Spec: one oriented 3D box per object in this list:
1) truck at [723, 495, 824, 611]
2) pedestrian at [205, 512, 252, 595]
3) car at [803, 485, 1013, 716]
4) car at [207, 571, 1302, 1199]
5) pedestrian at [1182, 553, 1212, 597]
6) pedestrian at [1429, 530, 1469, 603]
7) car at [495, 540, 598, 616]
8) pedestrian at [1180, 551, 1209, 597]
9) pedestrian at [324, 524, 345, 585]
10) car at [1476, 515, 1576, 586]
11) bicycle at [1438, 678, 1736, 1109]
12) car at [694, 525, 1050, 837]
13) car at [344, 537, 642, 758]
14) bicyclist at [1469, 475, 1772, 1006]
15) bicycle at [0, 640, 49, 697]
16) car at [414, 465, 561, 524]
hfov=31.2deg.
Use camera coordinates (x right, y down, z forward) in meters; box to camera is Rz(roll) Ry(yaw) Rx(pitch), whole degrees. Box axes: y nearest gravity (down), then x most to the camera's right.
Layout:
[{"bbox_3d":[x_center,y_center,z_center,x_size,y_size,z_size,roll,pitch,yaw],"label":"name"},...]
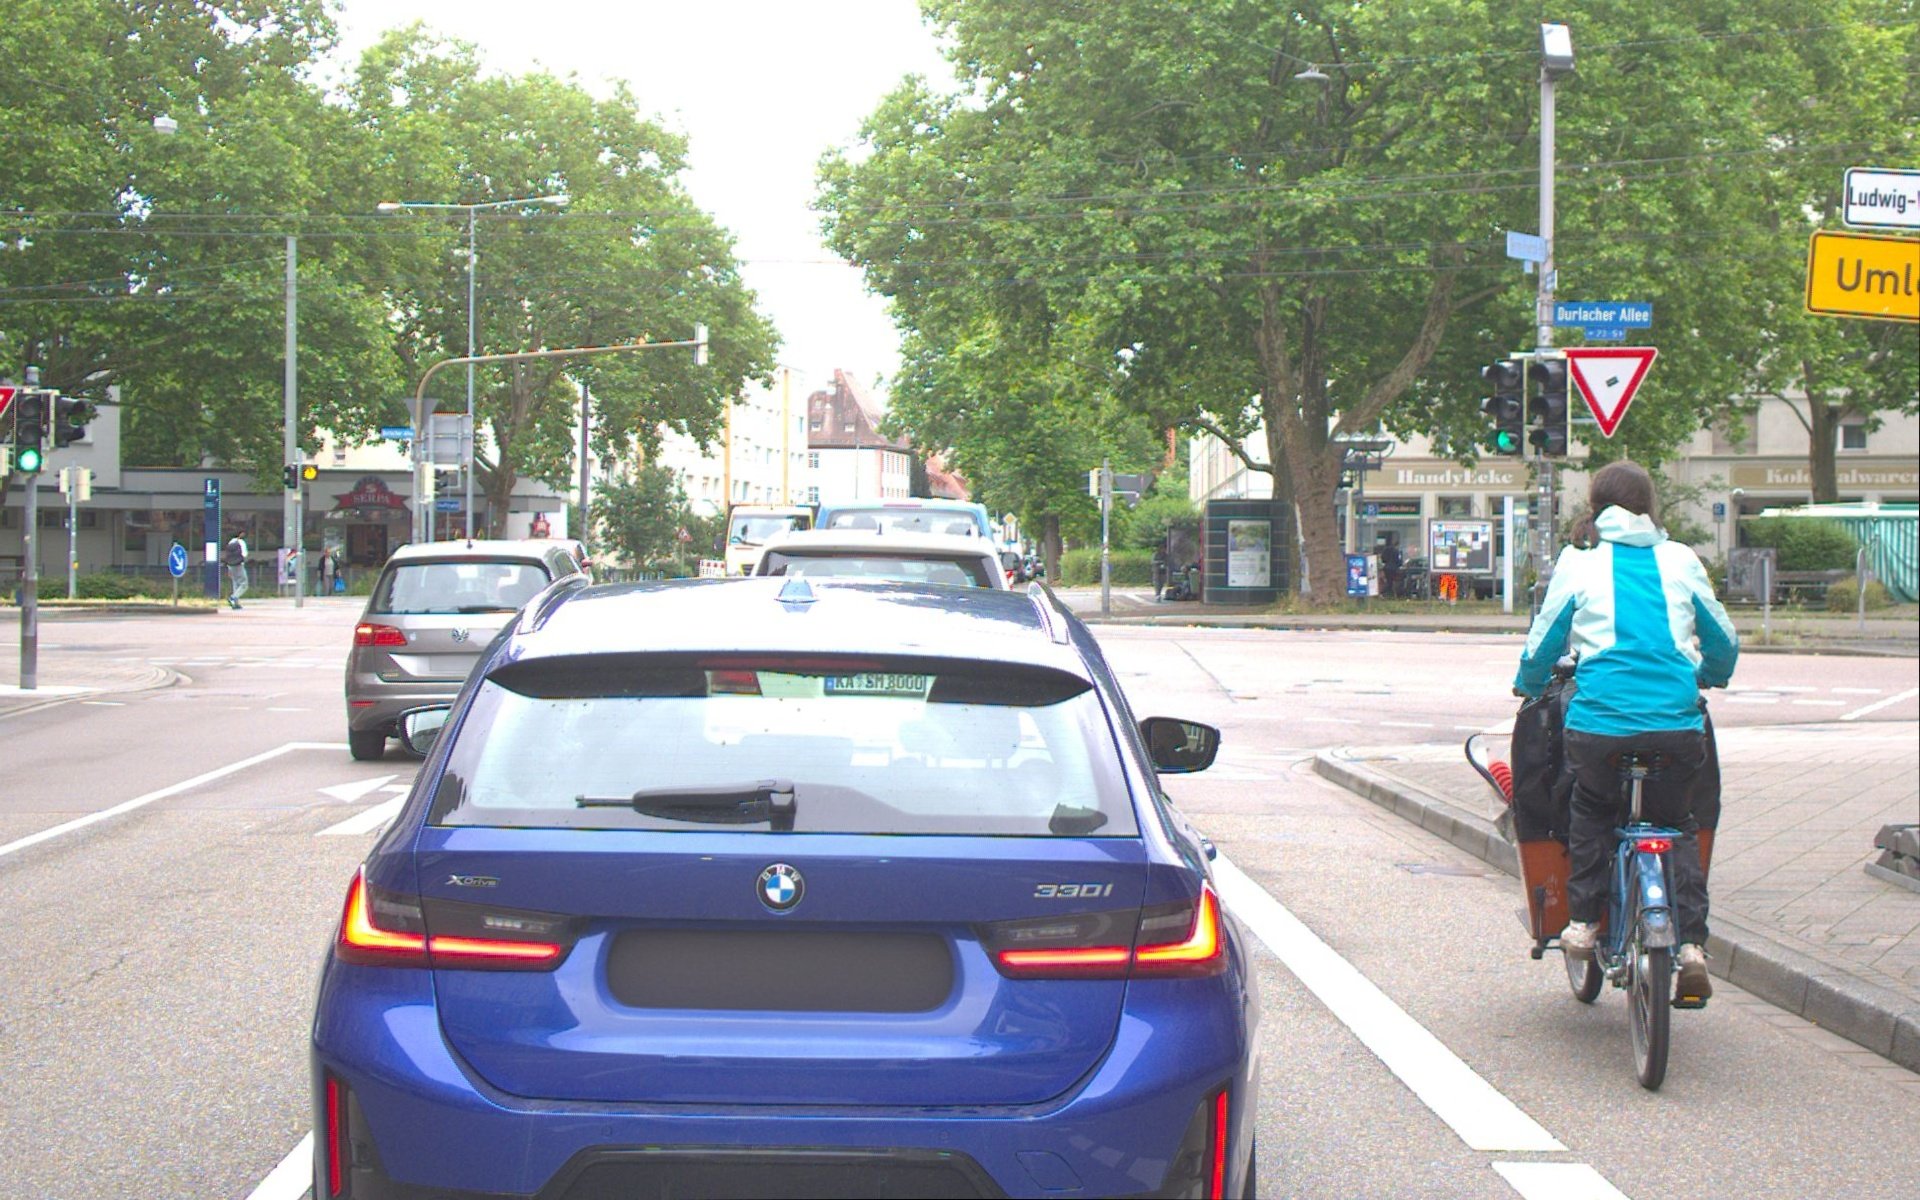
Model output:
[{"bbox_3d":[-4.008,-1.036,74.495,2.074,2.400,5.463,0,1,-2],"label":"truck"},{"bbox_3d":[-15.688,-1.005,73.730,0.676,1.765,0.724,1,1,41],"label":"pedestrian"},{"bbox_3d":[-0.470,-0.035,31.820,1.815,1.998,4.000,0,1,-1],"label":"car"},{"bbox_3d":[-0.366,0.659,7.872,1.815,1.400,4.320,0,1,-1],"label":"car"},{"bbox_3d":[7.099,-0.746,103.013,0.853,1.310,0.763,0,1,0],"label":"pedestrian"},{"bbox_3d":[11.595,-0.796,81.532,0.784,1.737,0.925,0,1,-2],"label":"pedestrian"},{"bbox_3d":[-8.118,-0.451,67.736,1.649,1.442,3.511,0,1,-1],"label":"car"},{"bbox_3d":[7.093,-0.792,103.970,0.817,1.367,0.763,0,1,0],"label":"pedestrian"},{"bbox_3d":[-18.114,-1.319,99.508,0.571,1.765,0.515,0,1,-13],"label":"pedestrian"},{"bbox_3d":[17.833,-1.558,108.186,2.177,2.193,3.995,1,1,24],"label":"car"},{"bbox_3d":[1.872,0.832,10.523,0.494,1.094,2.139,0,1,-1],"label":"bicycle"},{"bbox_3d":[-0.471,0.375,19.549,1.815,1.586,4.000,0,1,-1],"label":"car"},{"bbox_3d":[-3.415,0.293,25.784,1.732,1.519,4.000,0,1,-1],"label":"car"},{"bbox_3d":[1.960,0.391,10.323,0.686,1.512,1.058,0,1,-1],"label":"bicyclist"},{"bbox_3d":[-9.916,0.593,33.322,1.886,0.443,1.029,6,2,-2],"label":"bicycle"},{"bbox_3d":[-14.516,-3.233,105.616,3.987,1.700,2.000,0,0,-34],"label":"car"}]
